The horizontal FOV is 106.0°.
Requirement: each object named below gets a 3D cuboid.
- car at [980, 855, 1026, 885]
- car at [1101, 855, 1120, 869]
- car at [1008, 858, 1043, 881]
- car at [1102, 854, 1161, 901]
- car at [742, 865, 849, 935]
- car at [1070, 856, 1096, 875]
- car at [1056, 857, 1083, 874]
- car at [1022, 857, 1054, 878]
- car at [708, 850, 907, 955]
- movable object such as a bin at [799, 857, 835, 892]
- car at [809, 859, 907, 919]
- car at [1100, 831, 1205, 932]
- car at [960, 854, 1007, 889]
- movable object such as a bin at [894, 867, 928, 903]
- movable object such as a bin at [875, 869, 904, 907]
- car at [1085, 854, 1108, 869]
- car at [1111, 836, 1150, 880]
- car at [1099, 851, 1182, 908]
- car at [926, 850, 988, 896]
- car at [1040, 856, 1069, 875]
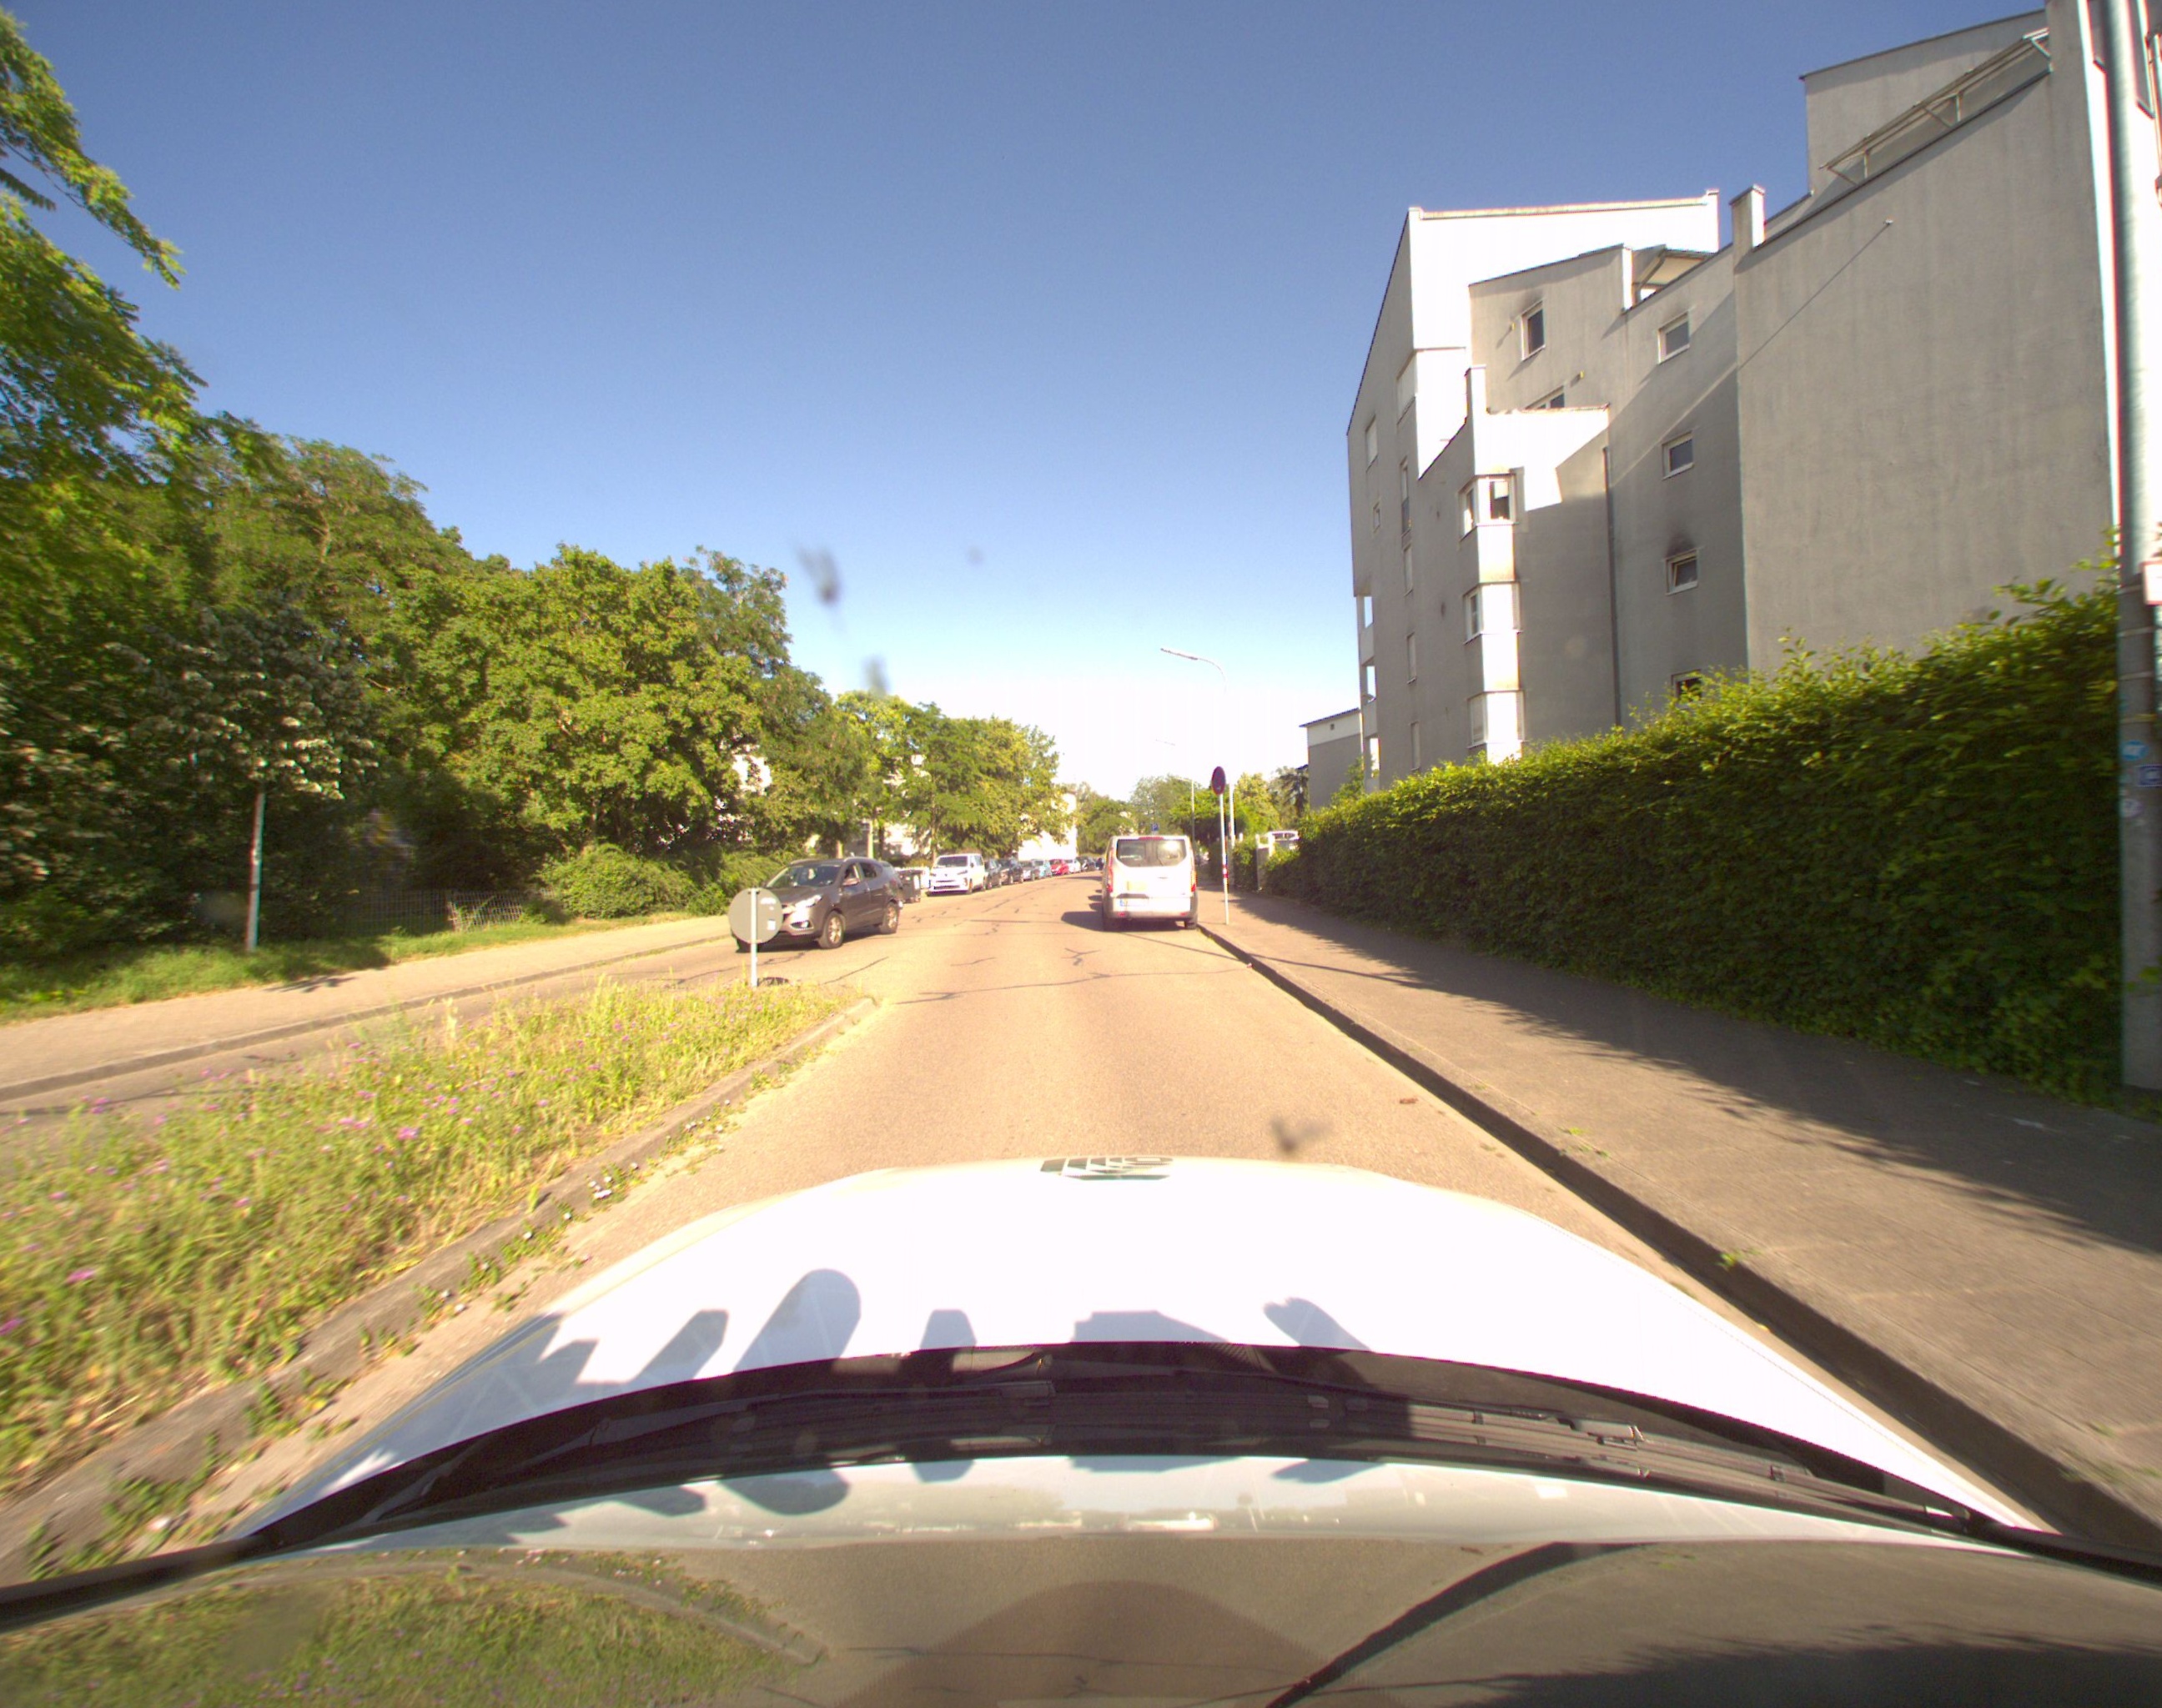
[{"bbox_3d":[-4.706,0.934,49.761,1.738,1.617,4.373,-2,0,9],"label":"car"},{"bbox_3d":[3.379,0.932,93.047,1.650,1.426,4.060,-4,-1,9],"label":"car"},{"bbox_3d":[-3.885,1.045,57.288,1.661,1.437,4.008,-3,-1,7],"label":"car"},{"bbox_3d":[1.766,0.792,29.048,1.902,1.488,4.378,-2,0,3],"label":"car"},{"bbox_3d":[-7.142,1.085,20.685,1.623,1.527,3.415,-2,0,-3],"label":"car"},{"bbox_3d":[0.199,1.133,81.460,1.659,1.666,4.420,-3,-1,11],"label":"car"},{"bbox_3d":[-1.028,1.021,74.697,1.659,1.421,3.913,-3,0,11],"label":"car"},{"bbox_3d":[-3.260,1.009,62.373,1.660,1.474,3.687,-3,-1,9],"label":"car"},{"bbox_3d":[-5.154,0.837,16.062,1.901,1.705,4.196,-3,0,9],"label":"car"},{"bbox_3d":[-12.184,0.937,37.627,1.255,1.551,1.279,-2,-1,-3],"label":"movable object such as a bin"},{"bbox_3d":[-6.960,1.030,25.858,1.668,1.638,4.253,-3,0,2],"label":"car"},{"bbox_3d":[1.455,0.557,18.473,1.986,1.912,4.954,-2,0,1],"label":"car"},{"bbox_3d":[-5.219,0.897,43.919,1.548,1.722,4.347,-2,0,5],"label":"car"},{"bbox_3d":[-6.599,1.189,31.639,0.798,1.315,1.324,-2,1,9],"label":"movable object such as a bin"},{"bbox_3d":[-7.156,1.255,30.433,0.606,1.340,1.271,-2,0,6],"label":"movable object such as a bin"},{"bbox_3d":[1.689,0.818,87.533,1.649,1.486,4.067,-4,-1,13],"label":"car"},{"bbox_3d":[3.077,0.223,49.506,2.094,2.486,5.865,-1,0,6],"label":"car"},{"bbox_3d":[1.597,0.677,23.625,1.987,1.417,4.922,-2,0,0],"label":"car"},{"bbox_3d":[-5.765,0.849,38.403,1.855,1.961,4.675,-2,0,4],"label":"car"},{"bbox_3d":[-2.218,0.928,68.982,1.660,1.474,3.687,-3,-1,9],"label":"car"}]
